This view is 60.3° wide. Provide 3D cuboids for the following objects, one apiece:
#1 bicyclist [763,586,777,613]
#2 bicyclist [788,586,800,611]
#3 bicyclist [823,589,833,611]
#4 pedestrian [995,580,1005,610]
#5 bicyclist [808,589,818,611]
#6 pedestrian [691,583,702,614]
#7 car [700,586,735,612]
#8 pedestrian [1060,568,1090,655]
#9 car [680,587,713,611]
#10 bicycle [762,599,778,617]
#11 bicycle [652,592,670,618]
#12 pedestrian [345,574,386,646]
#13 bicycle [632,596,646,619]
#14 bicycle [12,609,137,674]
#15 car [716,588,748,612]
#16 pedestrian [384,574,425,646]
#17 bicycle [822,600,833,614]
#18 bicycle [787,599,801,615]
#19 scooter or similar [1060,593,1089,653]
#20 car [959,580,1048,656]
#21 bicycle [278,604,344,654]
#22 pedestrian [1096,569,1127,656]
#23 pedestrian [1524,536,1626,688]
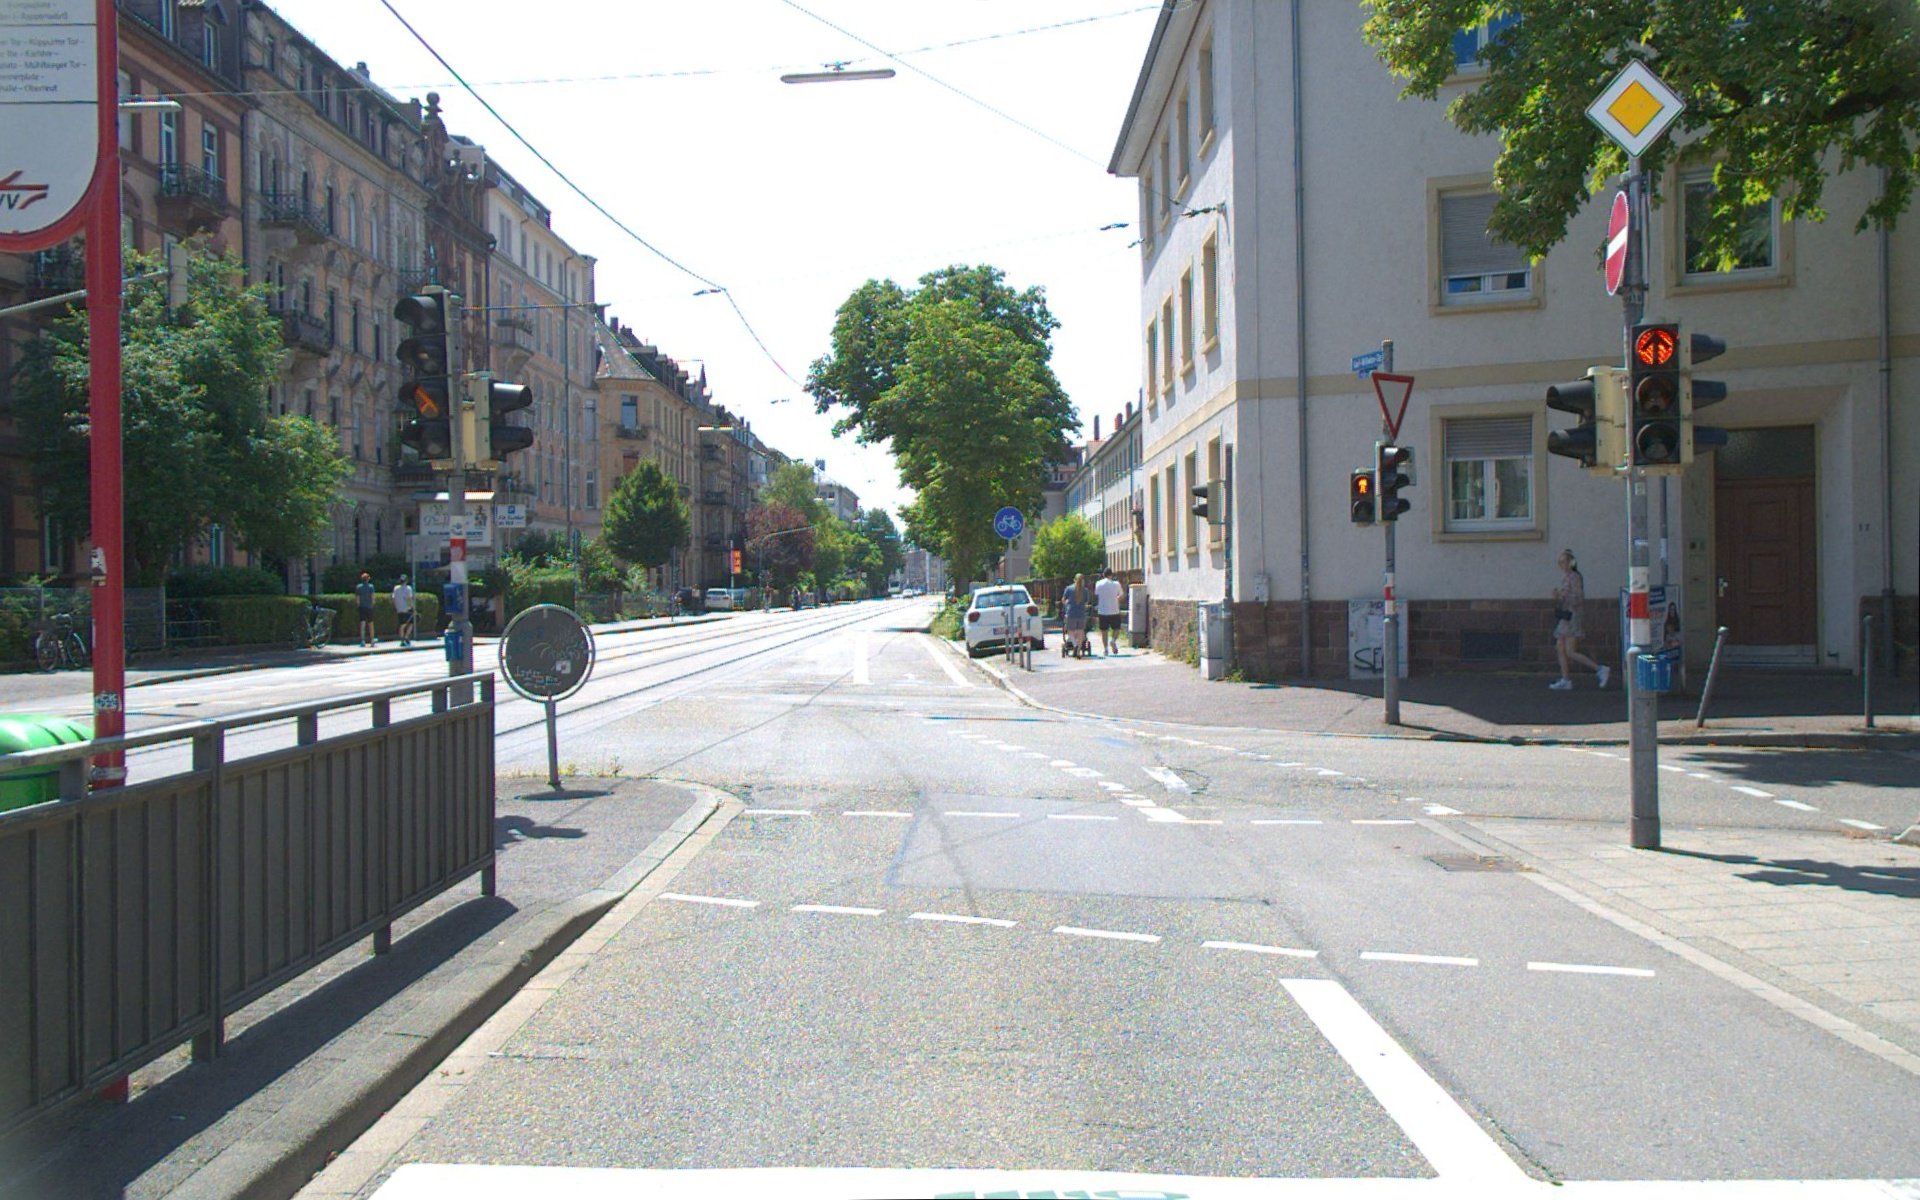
[{"bbox_3d":[-12.115,-0.024,105.541,0.712,1.657,1.079,1,0,1],"label":"bicyclist"},{"bbox_3d":[-11.891,-0.099,118.639,0.712,1.799,1.079,1,0,1],"label":"bicyclist"},{"bbox_3d":[-11.325,-0.002,141.670,0.712,1.850,1.079,1,0,1],"label":"bicyclist"},{"bbox_3d":[2.091,-0.258,86.606,0.511,1.590,0.573,-1,0,-1],"label":"pedestrian"},{"bbox_3d":[-12.568,-0.023,141.738,0.712,1.850,1.079,1,0,1],"label":"bicyclist"},{"bbox_3d":[-14.561,-0.091,91.508,0.510,1.688,0.529,-1,0,-1],"label":"pedestrian"},{"bbox_3d":[-16.866,-0.051,115.315,1.880,1.745,3.999,1,0,-1],"label":"car"},{"bbox_3d":[2.238,0.230,32.232,0.545,1.674,0.677,1,-1,2],"label":"pedestrian"},{"bbox_3d":[-19.665,-0.064,123.610,1.880,1.745,3.999,1,0,-1],"label":"car"},{"bbox_3d":[-12.131,0.512,105.531,0.712,1.142,2.085,1,0,1],"label":"bicycle"},{"bbox_3d":[-15.269,0.250,84.437,0.664,1.301,1.917,-1,0,-4],"label":"bicycle"},{"bbox_3d":[-15.543,0.251,43.265,0.800,1.854,0.873,1,1,-4],"label":"pedestrian"},{"bbox_3d":[-15.492,0.336,79.790,0.665,1.083,1.913,-1,0,-12],"label":"bicycle"},{"bbox_3d":[-16.708,0.756,31.307,0.918,1.156,2.773,1,0,-2],"label":"bicycle"},{"bbox_3d":[-17.034,-0.019,123.576,1.880,1.745,3.999,1,0,-1],"label":"car"},{"bbox_3d":[-14.630,0.256,43.585,0.800,1.854,0.873,1,1,-4],"label":"pedestrian"},{"bbox_3d":[-11.327,0.613,141.576,0.712,1.142,2.085,1,0,1],"label":"bicycle"},{"bbox_3d":[-11.913,0.522,118.637,0.712,1.142,2.085,1,0,1],"label":"bicycle"},{"bbox_3d":[2.292,0.453,33.173,0.545,1.175,1.205,1,0,2],"label":"scooter or similar"},{"bbox_3d":[0.933,0.396,37.326,1.778,1.542,3.999,-3,0,-1],"label":"car"},{"bbox_3d":[-15.870,0.697,40.518,0.920,1.156,2.767,1,0,-9],"label":"bicycle"},{"bbox_3d":[2.973,0.243,32.466,0.545,1.674,0.677,1,-1,2],"label":"pedestrian"},{"bbox_3d":[7.507,0.142,20.201,1.032,1.719,0.654,-5,3,21],"label":"pedestrian"}]
